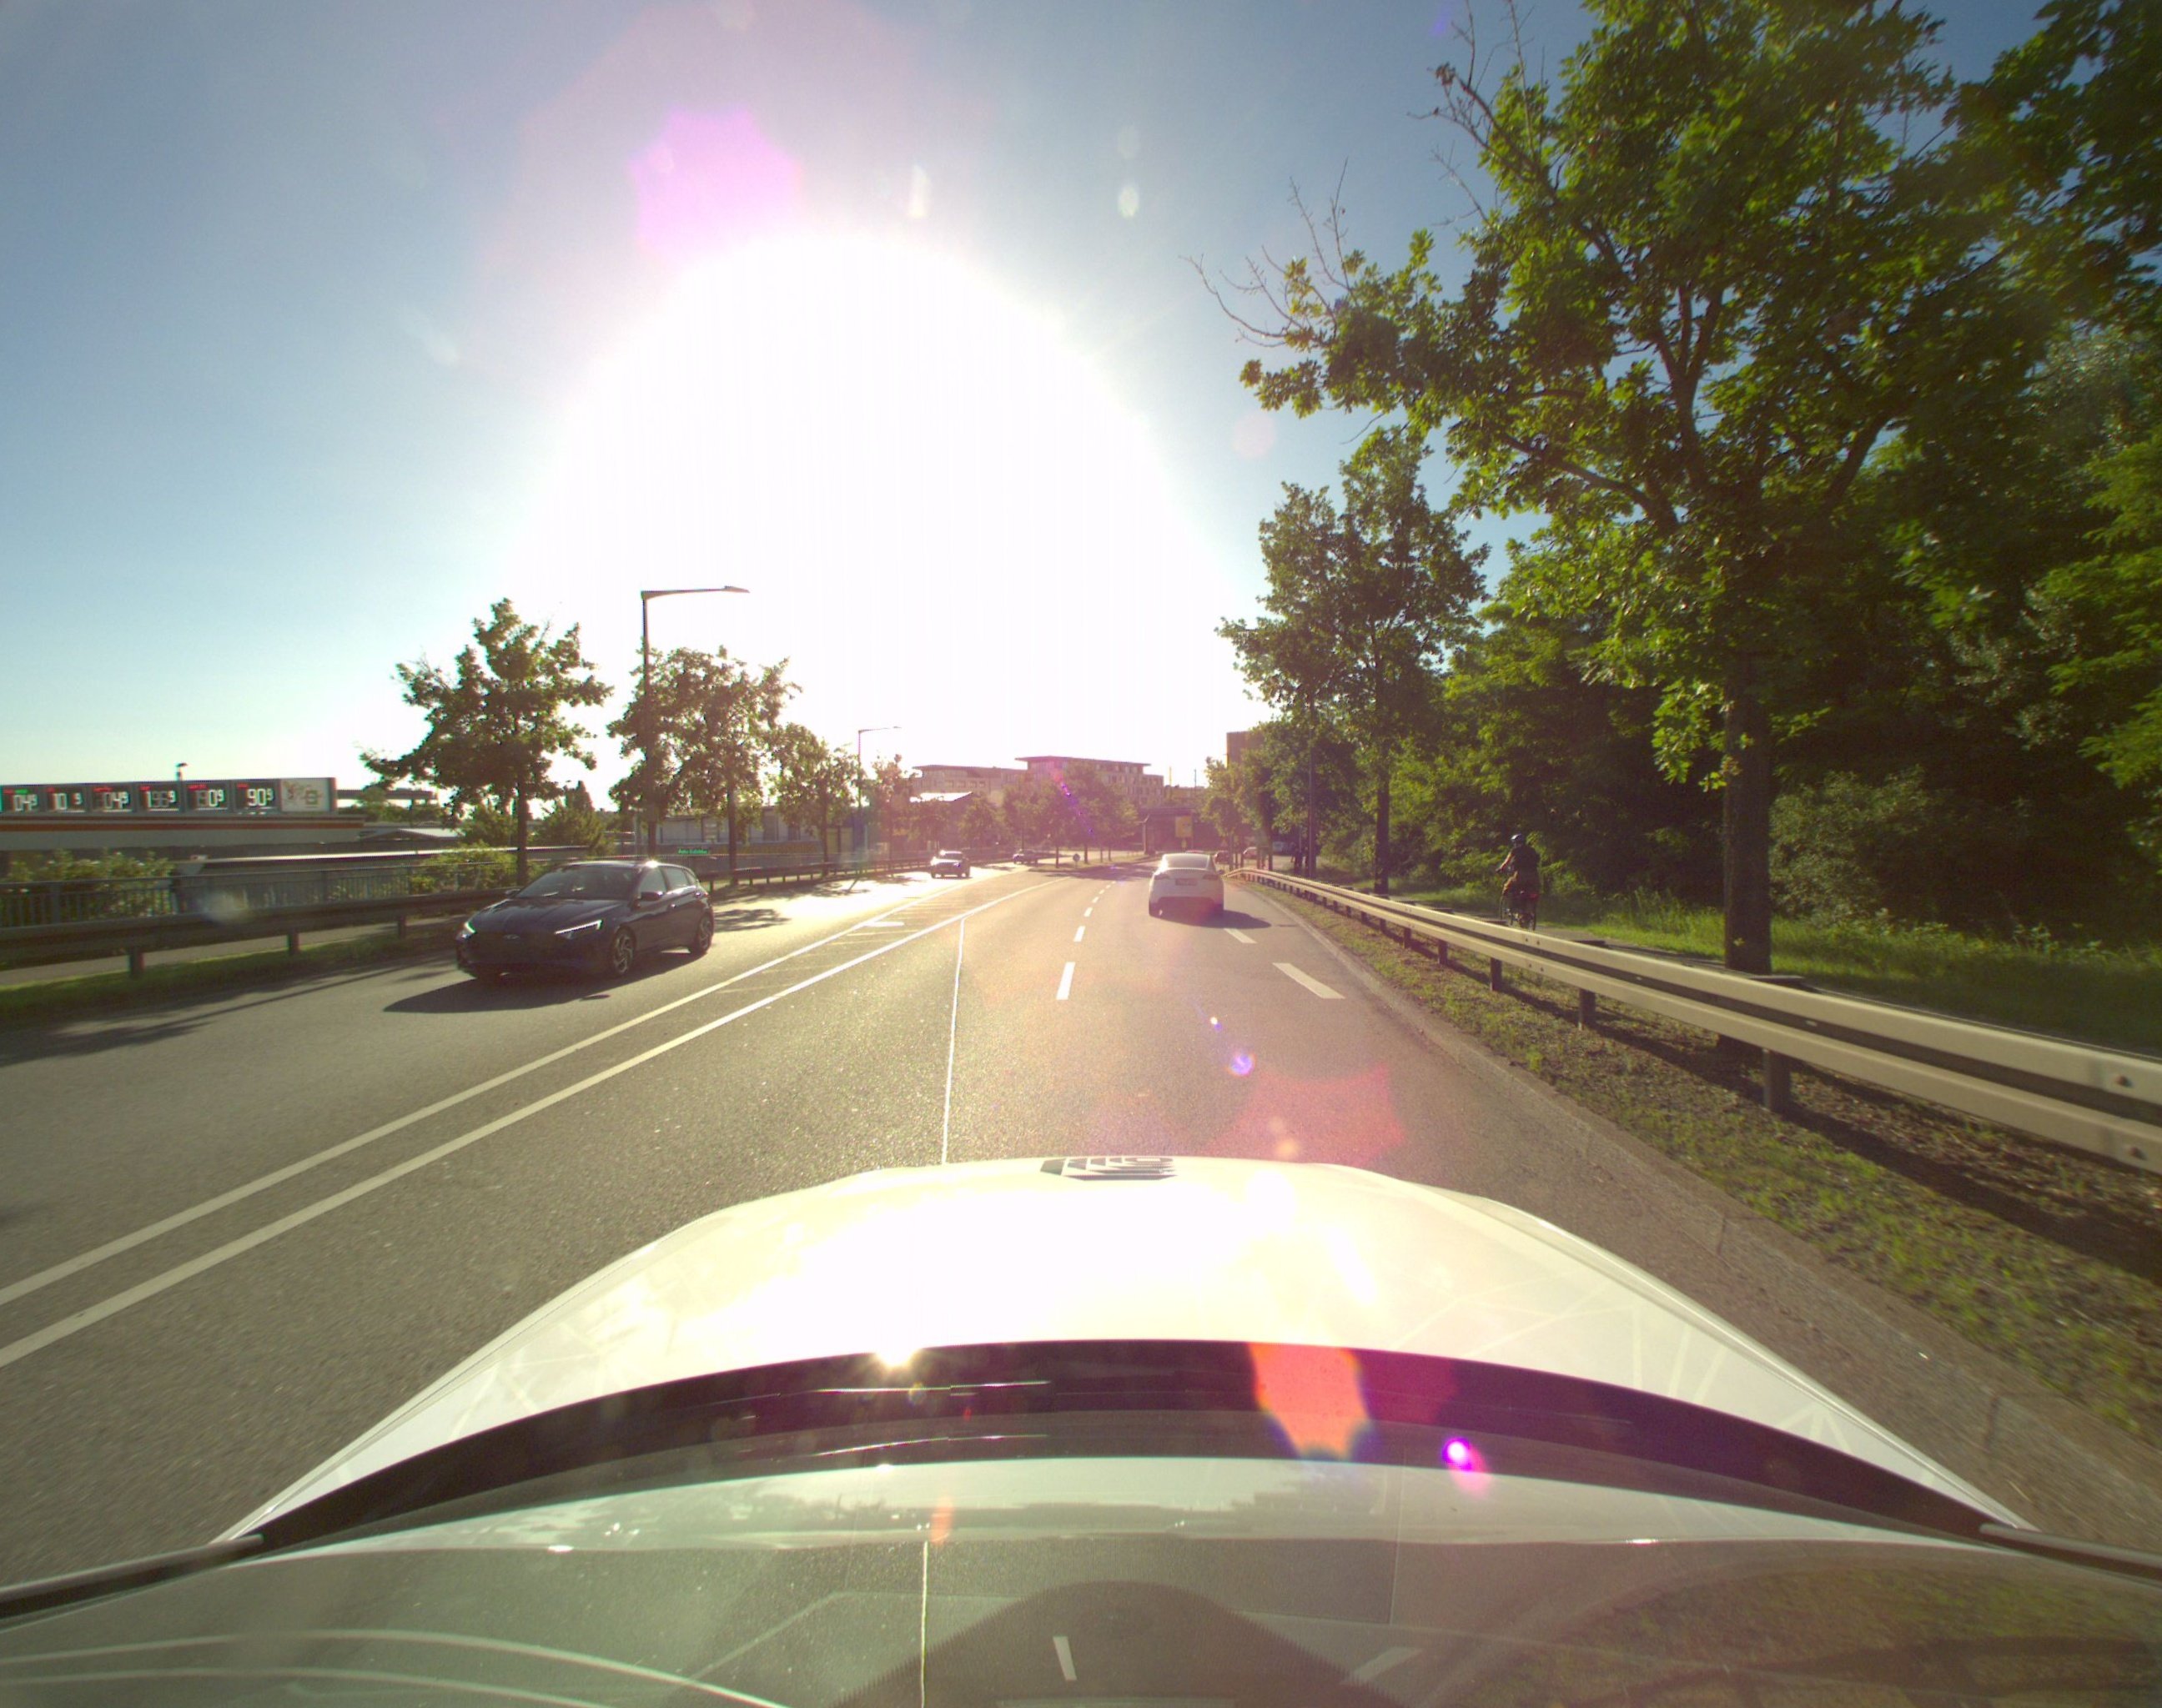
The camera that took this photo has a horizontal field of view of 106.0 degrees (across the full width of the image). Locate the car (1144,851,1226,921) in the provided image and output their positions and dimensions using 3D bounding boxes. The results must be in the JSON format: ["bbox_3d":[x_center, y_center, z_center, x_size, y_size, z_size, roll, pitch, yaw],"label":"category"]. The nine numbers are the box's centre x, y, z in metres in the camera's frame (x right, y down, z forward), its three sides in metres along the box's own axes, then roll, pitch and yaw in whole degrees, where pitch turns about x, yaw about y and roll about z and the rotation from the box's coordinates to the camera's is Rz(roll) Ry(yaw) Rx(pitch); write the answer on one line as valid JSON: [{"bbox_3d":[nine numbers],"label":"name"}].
[{"bbox_3d":[2.916,0.775,22.078,1.902,1.640,4.424,0,1,11],"label":"car"}]

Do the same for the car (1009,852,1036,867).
[{"bbox_3d":[-5.801,0.511,81.316,1.720,1.385,4.506,1,0,8],"label":"car"}]

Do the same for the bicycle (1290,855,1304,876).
[{"bbox_3d":[12.297,0.632,46.333,0.690,1.095,2.127,-2,0,16],"label":"bicycle"}]

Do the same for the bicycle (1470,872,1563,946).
[{"bbox_3d":[7.254,0.883,13.666,0.697,1.074,1.925,-2,0,7],"label":"bicycle"}]

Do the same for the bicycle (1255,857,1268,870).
[{"bbox_3d":[15.777,0.819,71.246,0.737,1.112,2.464,-2,0,21],"label":"bicycle"}]

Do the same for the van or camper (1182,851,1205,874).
[{"bbox_3d":[9.707,0.679,70.542,1.948,1.884,4.890,0,0,7],"label":"van or camper"}]

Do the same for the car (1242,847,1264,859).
[{"bbox_3d":[22.253,-0.132,105.313,1.747,1.475,4.314,0,2,26],"label":"car"}]

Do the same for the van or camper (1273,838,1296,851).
[{"bbox_3d":[29.818,-1.458,119.359,1.808,1.790,4.574,2,2,34],"label":"van or camper"}]

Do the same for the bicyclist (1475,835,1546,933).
[{"bbox_3d":[7.245,0.484,13.784,0.703,1.578,1.006,-2,0,7],"label":"bicyclist"}]

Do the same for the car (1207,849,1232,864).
[{"bbox_3d":[15.536,0.263,91.480,1.589,1.434,3.702,2,3,29],"label":"car"}]

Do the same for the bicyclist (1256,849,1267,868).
[{"bbox_3d":[15.778,0.427,71.320,0.739,1.619,0.917,-2,0,21],"label":"bicyclist"}]

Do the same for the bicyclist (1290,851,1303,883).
[{"bbox_3d":[12.227,0.716,46.185,0.670,1.776,0.952,-2,0,16],"label":"bicyclist"}]

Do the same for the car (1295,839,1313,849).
[{"bbox_3d":[37.717,-1.750,137.802,1.691,1.522,3.767,1,2,38],"label":"car"}]

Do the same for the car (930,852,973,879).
[{"bbox_3d":[-7.675,0.642,48.549,1.755,1.489,4.279,1,0,2],"label":"car"}]

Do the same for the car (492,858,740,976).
[{"bbox_3d":[-6.751,0.812,12.350,1.660,1.445,3.845,-1,0,-3],"label":"car"}]
